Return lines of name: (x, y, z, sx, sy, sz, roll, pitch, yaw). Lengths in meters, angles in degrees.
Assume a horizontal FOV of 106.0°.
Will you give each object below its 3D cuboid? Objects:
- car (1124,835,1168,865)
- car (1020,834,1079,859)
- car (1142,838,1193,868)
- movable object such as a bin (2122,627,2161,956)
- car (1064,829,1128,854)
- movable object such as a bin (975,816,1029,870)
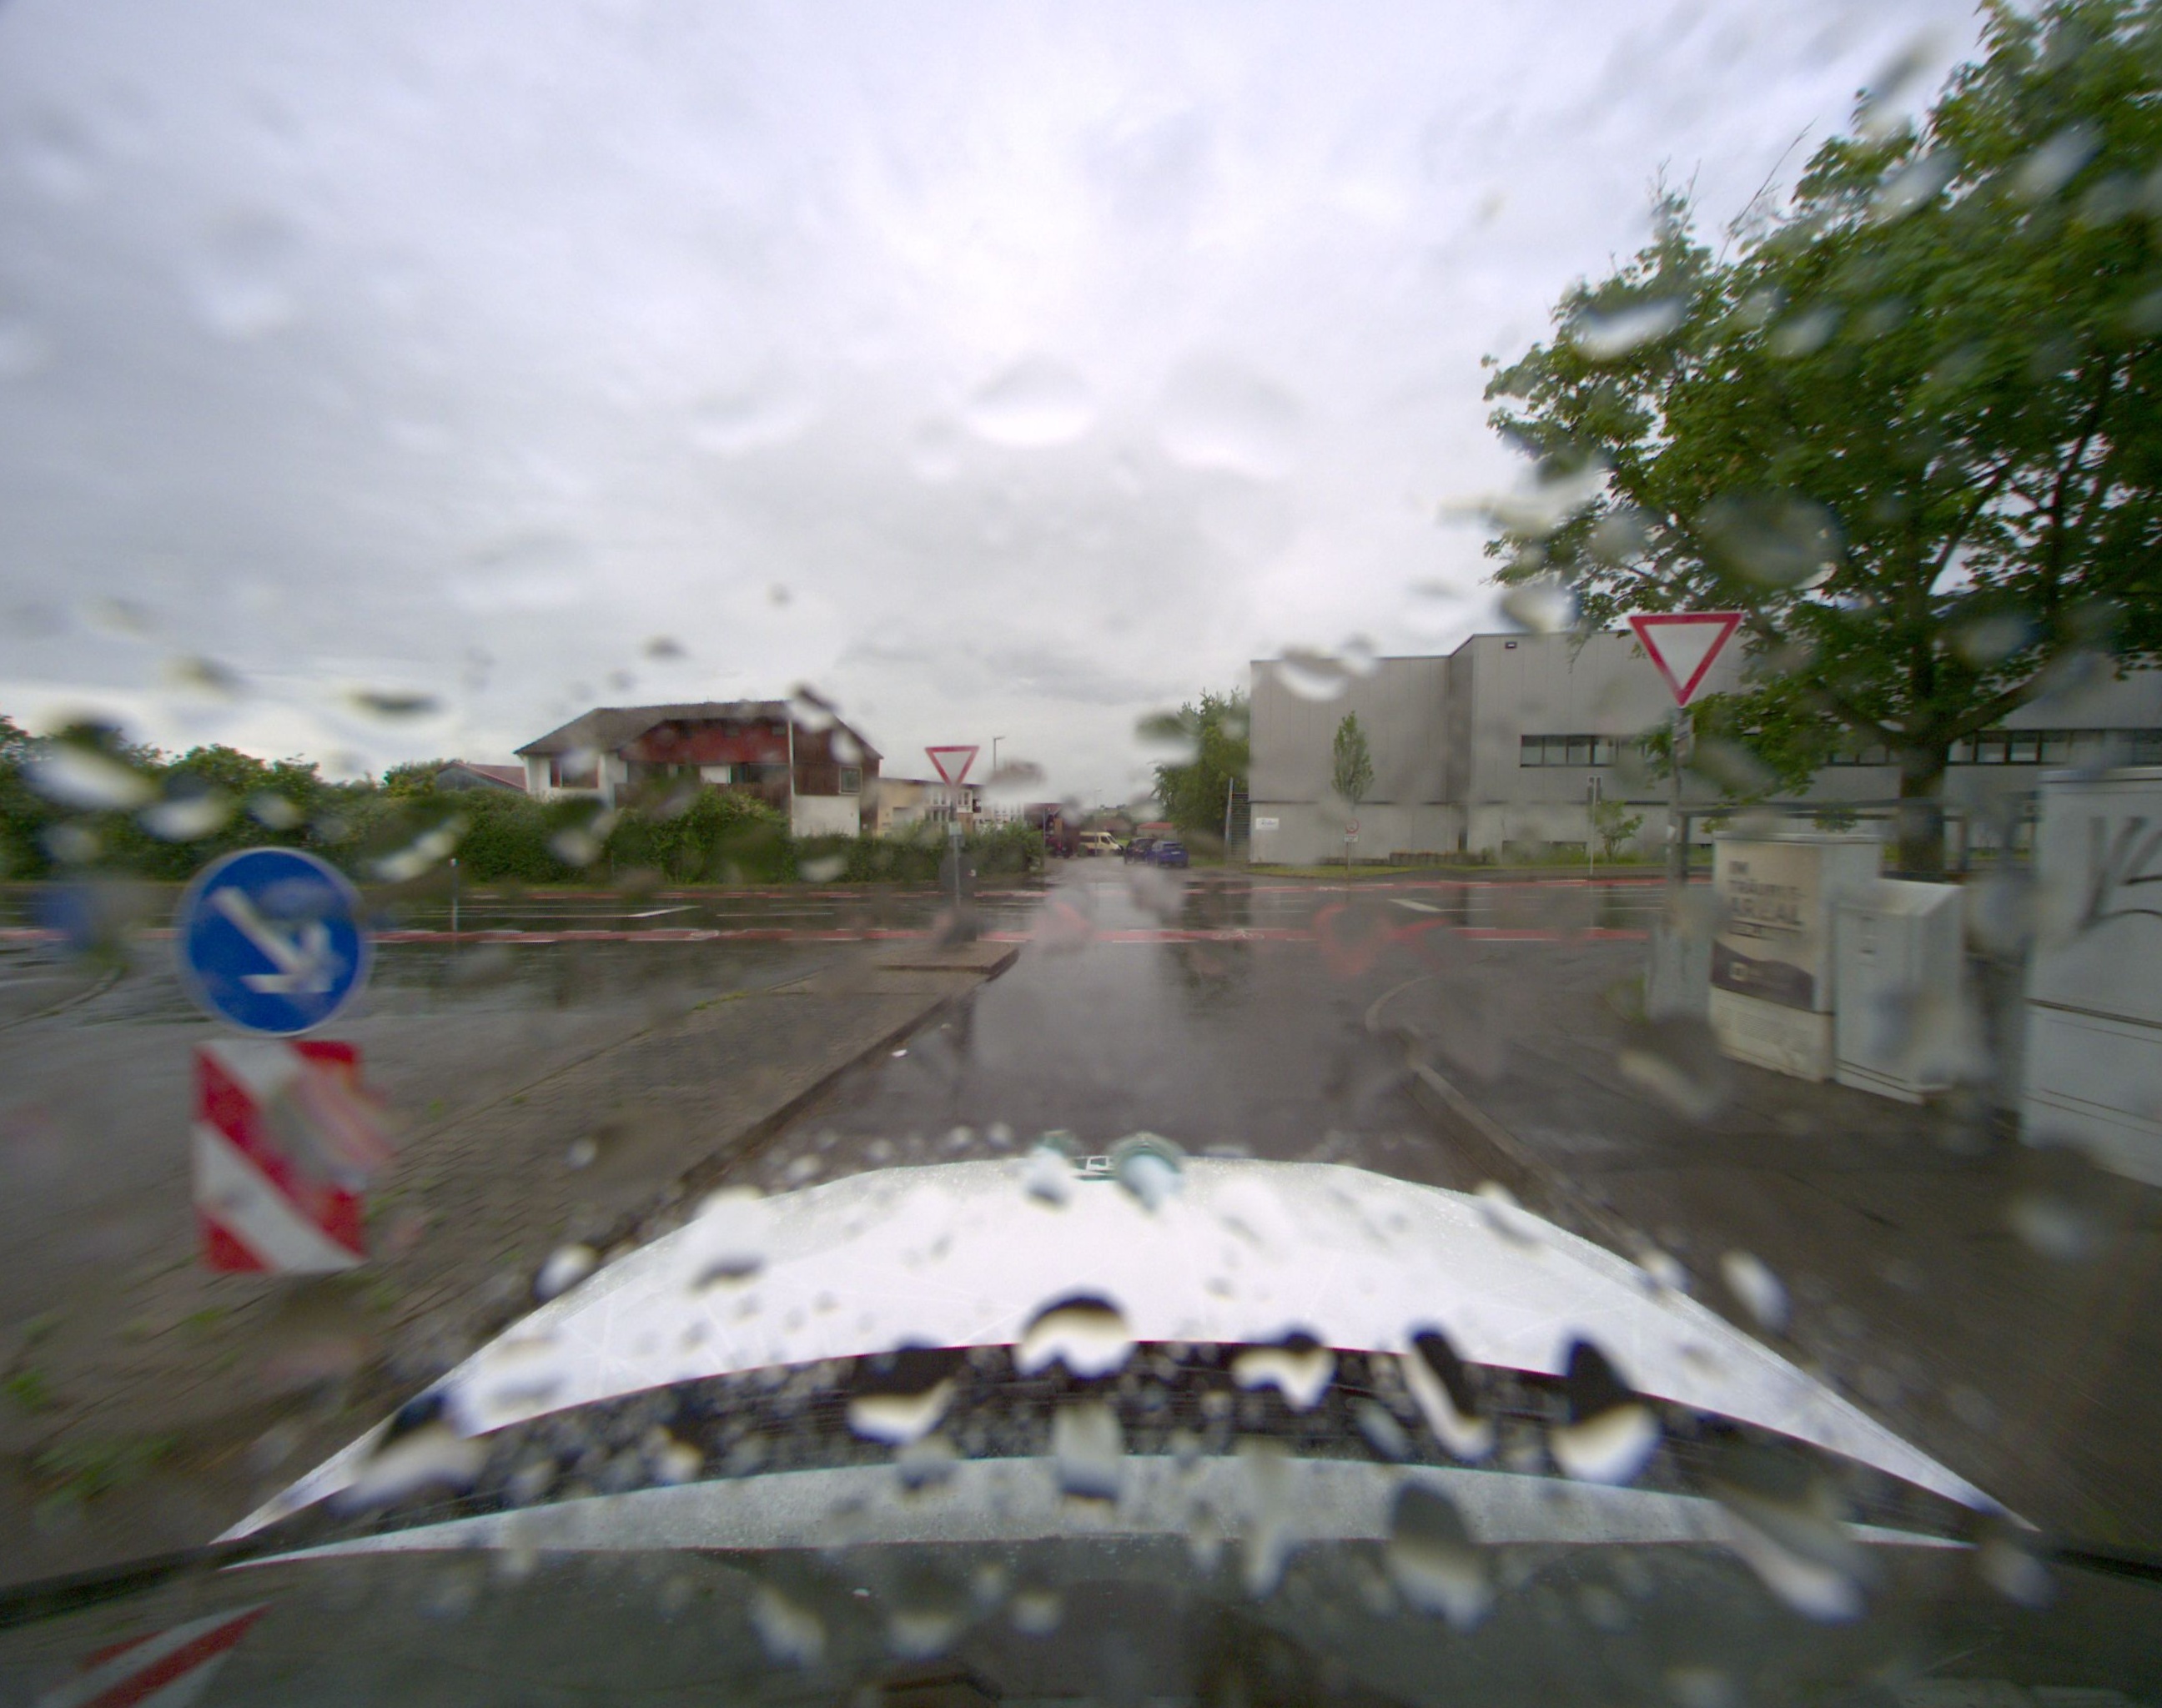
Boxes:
car: (4.169, -0.251, 52.772, 2.071, 1.834, 4.461, -1, 1, -6)
car: (-2.510, -0.596, 64.261, 4.354, 1.905, 2.013, 0, 1, 40)
car: (4.873, -0.059, 46.523, 1.950, 1.610, 4.435, -1, 1, -8)
movable object such as a bin: (5.682, -0.285, 3.025, 1.306, 1.500, 1.853, -1, 0, -9)
car: (1.510, -1.203, 81.730, 5.961, 2.415, 2.475, 0, 0, 18)
movable object such as a bin: (-3.917, -0.537, 40.796, 1.721, 2.556, 3.351, 0, 0, 12)
